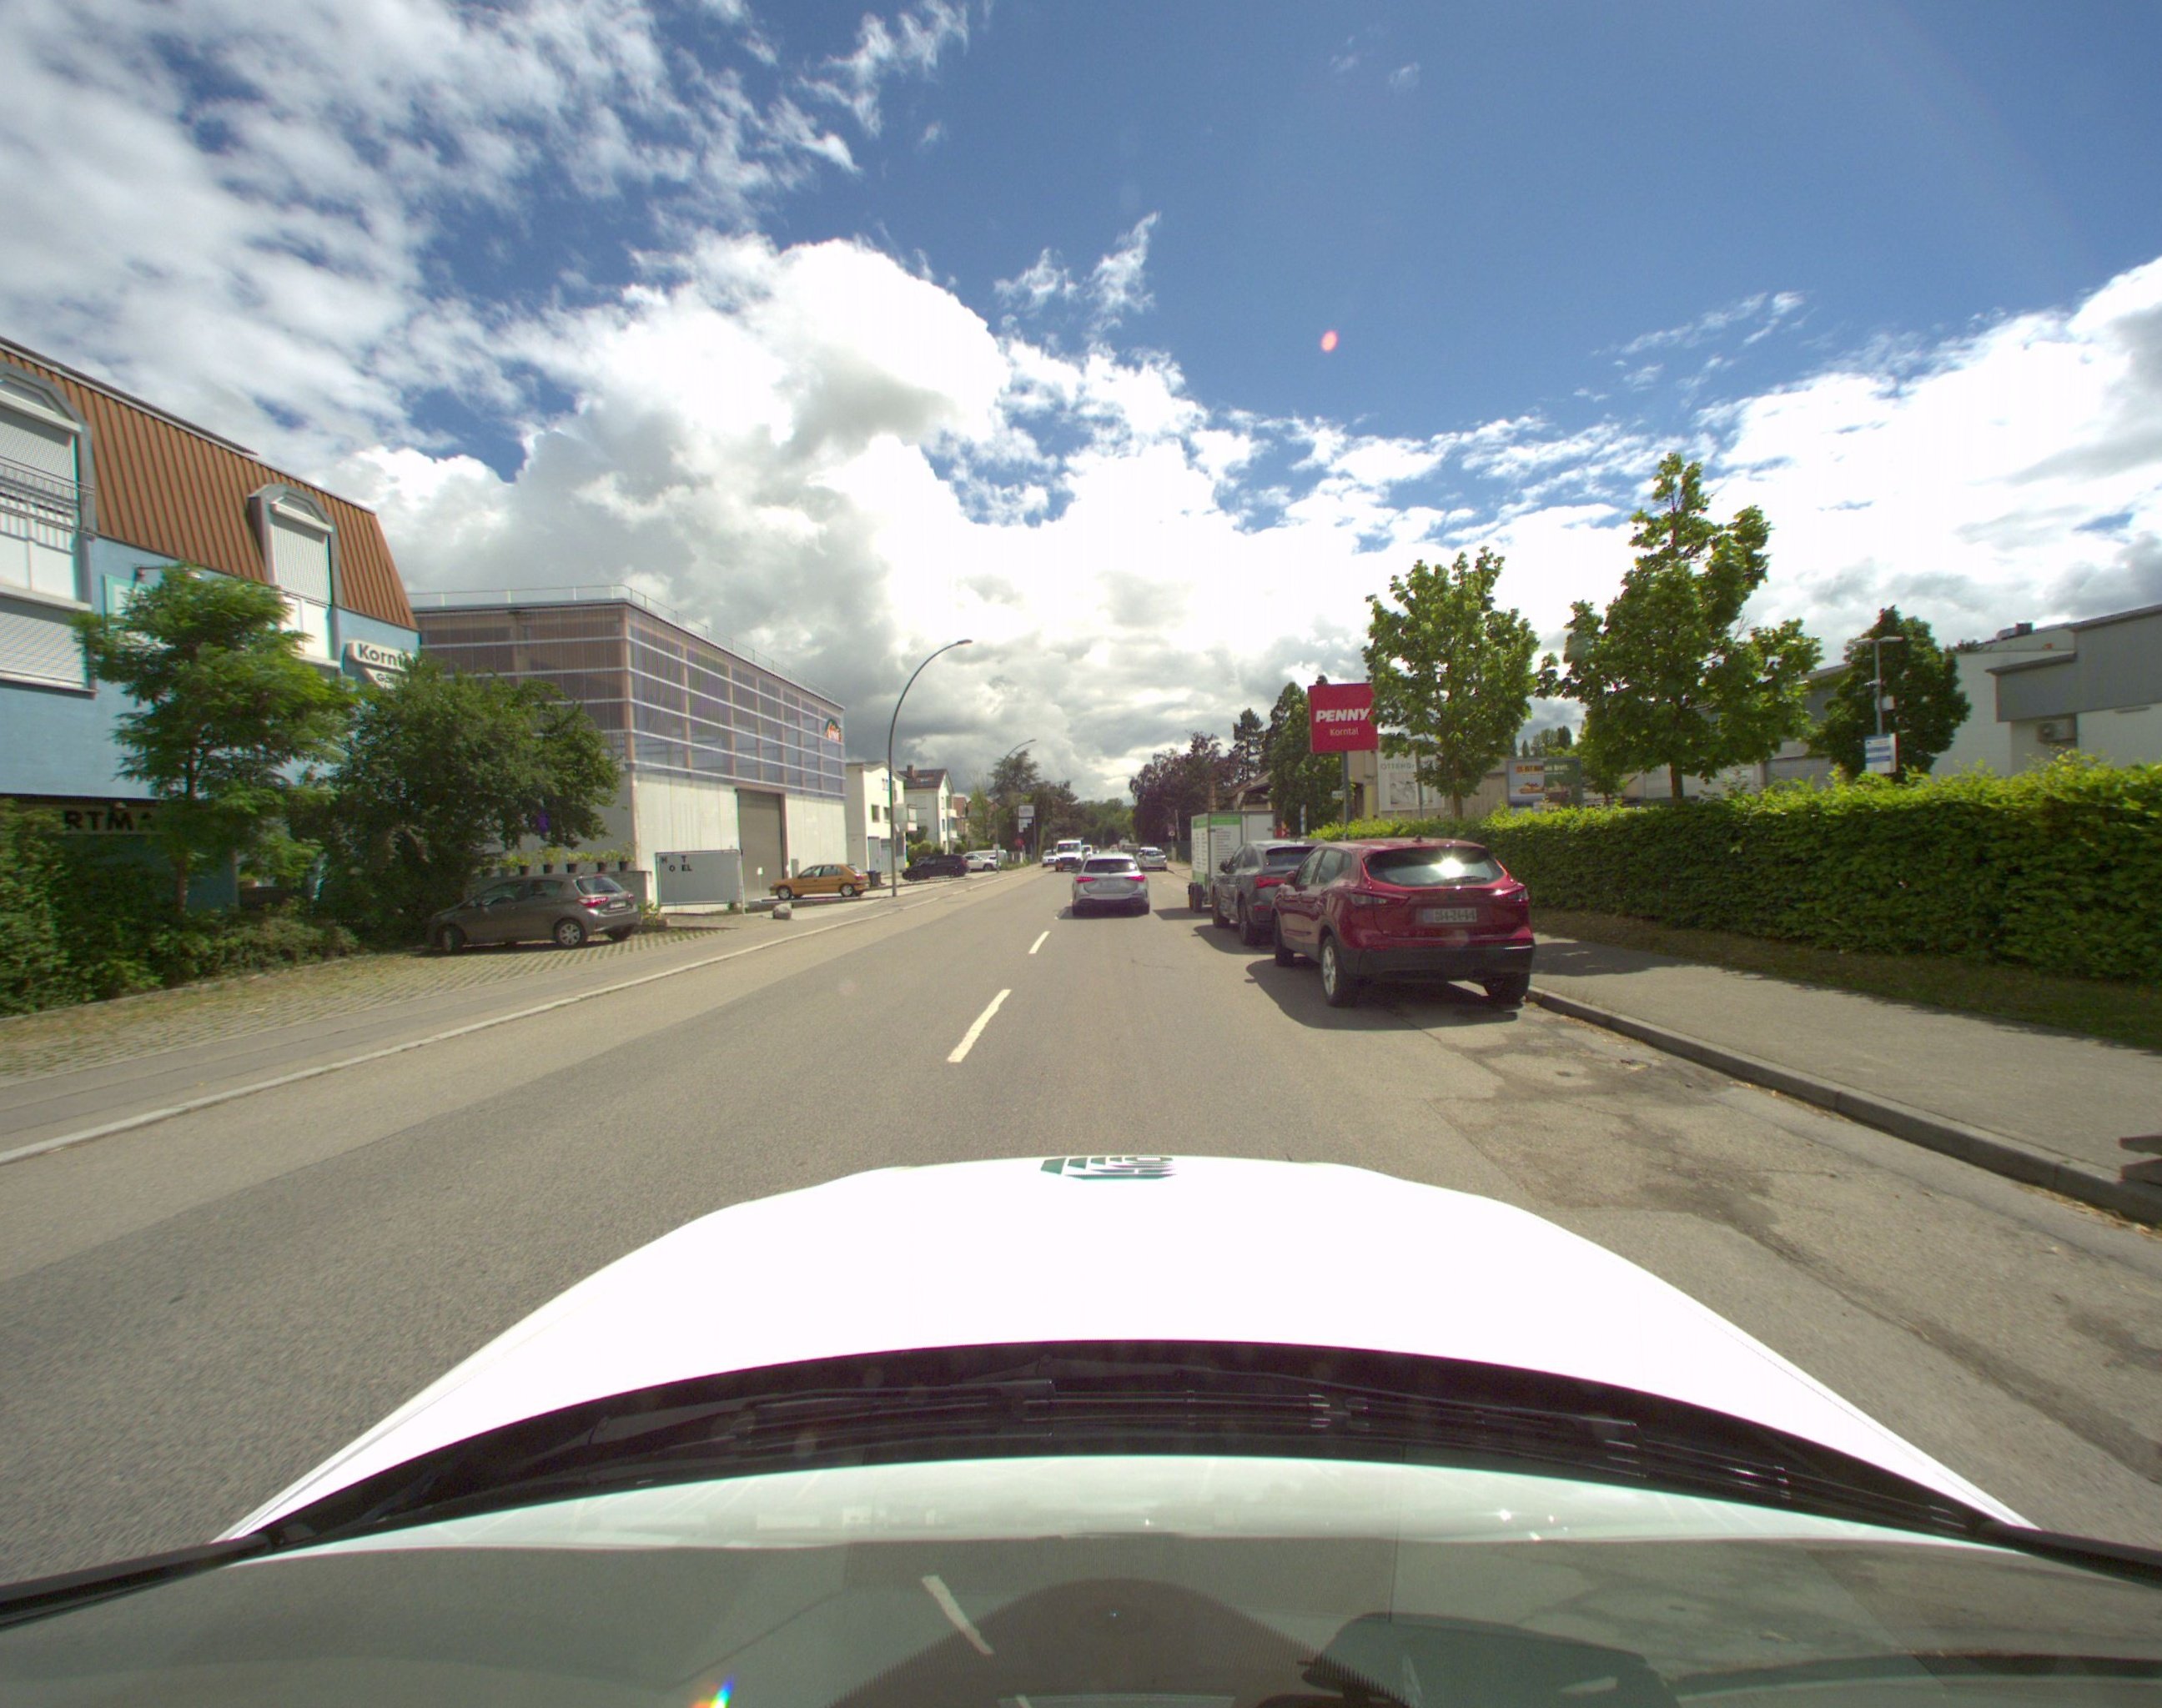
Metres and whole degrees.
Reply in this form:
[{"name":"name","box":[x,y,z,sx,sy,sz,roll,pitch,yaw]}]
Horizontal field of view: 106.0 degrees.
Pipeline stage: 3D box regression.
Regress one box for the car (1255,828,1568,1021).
[{"name":"car","box":[3.294,0.581,9.190,1.933,1.571,4.451,-3,1,4]}]

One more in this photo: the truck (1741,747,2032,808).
[{"name":"truck","box":[41.685,-3.906,42.436,11.931,2.864,2.981,0,1,2]}]

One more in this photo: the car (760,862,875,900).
[{"name":"car","box":[-10.842,1.104,33.686,4.139,1.491,1.825,0,1,-2]}]

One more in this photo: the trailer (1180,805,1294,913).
[{"name":"trailer","box":[3.718,0.106,20.258,1.935,2.294,4.446,-3,0,1]}]

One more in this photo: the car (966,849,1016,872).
[{"name":"car","box":[-8.217,0.644,74.690,4.265,1.836,1.991,-3,-3,0]}]

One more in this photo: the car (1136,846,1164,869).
[{"name":"car","box":[5.183,0.246,61.729,1.785,1.552,4.575,-3,1,1]}]

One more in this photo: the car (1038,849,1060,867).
[{"name":"car","box":[-3.109,0.396,79.723,1.785,1.603,4.365,-3,1,2]}]

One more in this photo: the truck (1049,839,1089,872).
[{"name":"truck","box":[-0.826,0.074,61.149,2.308,2.178,6.456,-3,1,4]}]

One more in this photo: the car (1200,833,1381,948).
[{"name":"car","box":[3.382,0.508,14.089,1.935,1.571,4.445,-3,1,0]}]

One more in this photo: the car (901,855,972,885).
[{"name":"car","box":[-10.351,1.148,58.568,4.614,1.632,2.196,-5,1,-2]}]

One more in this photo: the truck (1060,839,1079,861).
[{"name":"truck","box":[-1.579,-0.547,113.439,2.066,2.814,7.084,-3,1,3]}]

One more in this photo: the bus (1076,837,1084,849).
[{"name":"bus","box":[-0.388,-3.321,239.902,1.989,3.364,6.974,0,1,-3]}]

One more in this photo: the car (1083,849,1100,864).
[{"name":"car","box":[1.453,0.320,107.928,1.985,1.733,4.553,-3,1,3]}]

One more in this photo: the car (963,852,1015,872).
[{"name":"car","box":[-8.129,0.724,72.317,4.265,1.567,1.991,-3,-3,0]}]

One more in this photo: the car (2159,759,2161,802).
[{"name":"car","box":[40.003,-2.668,27.780,3.972,1.508,1.820,-3,1,1]}]

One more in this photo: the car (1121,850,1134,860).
[{"name":"car","box":[7.691,0.162,135.016,1.779,1.484,4.316,-1,0,0]}]

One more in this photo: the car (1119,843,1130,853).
[{"name":"car","box":[7.464,-1.047,140.018,1.779,1.715,4.316,-1,0,0]}]

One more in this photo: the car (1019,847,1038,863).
[{"name":"car","box":[-5.958,0.084,93.379,1.988,1.657,3.997,-3,1,-2]}]

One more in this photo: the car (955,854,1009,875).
[{"name":"car","box":[-8.388,0.903,69.382,4.263,1.567,1.992,-3,-3,2]}]

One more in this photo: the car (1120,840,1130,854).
[{"name":"car","box":[8.231,-1.228,152.494,1.779,2.518,4.316,-1,0,0]}]

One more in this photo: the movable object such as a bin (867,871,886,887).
[{"name":"movable object such as a bin","box":[-13.609,1.653,54.241,0.740,0.918,1.520,-3,0,4]}]

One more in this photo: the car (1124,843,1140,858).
[{"name":"car","box":[7.163,-0.473,114.926,2.136,1.984,5.264,-3,0,2]}]

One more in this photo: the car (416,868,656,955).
[{"name":"car","box":[-11.241,1.151,16.983,3.612,1.532,1.982,-2,0,4]}]

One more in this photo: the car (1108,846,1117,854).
[{"name":"car","box":[6.639,-0.925,172.617,1.749,1.558,4.001,-2,1,1]}]

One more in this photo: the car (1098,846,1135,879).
[{"name":"car","box":[1.803,0.420,42.374,1.750,1.558,4.000,-2,1,0]}]

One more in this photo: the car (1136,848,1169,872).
[{"name":"car","box":[4.902,0.374,55.987,1.786,1.450,4.362,-3,1,0]}]

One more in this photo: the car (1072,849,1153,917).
[{"name":"car","box":[0.714,0.643,20.309,1.779,1.484,4.316,-1,0,0]}]

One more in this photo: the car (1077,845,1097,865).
[{"name":"car","box":[0.657,0.044,84.519,1.986,1.888,5.118,-3,1,1]}]
